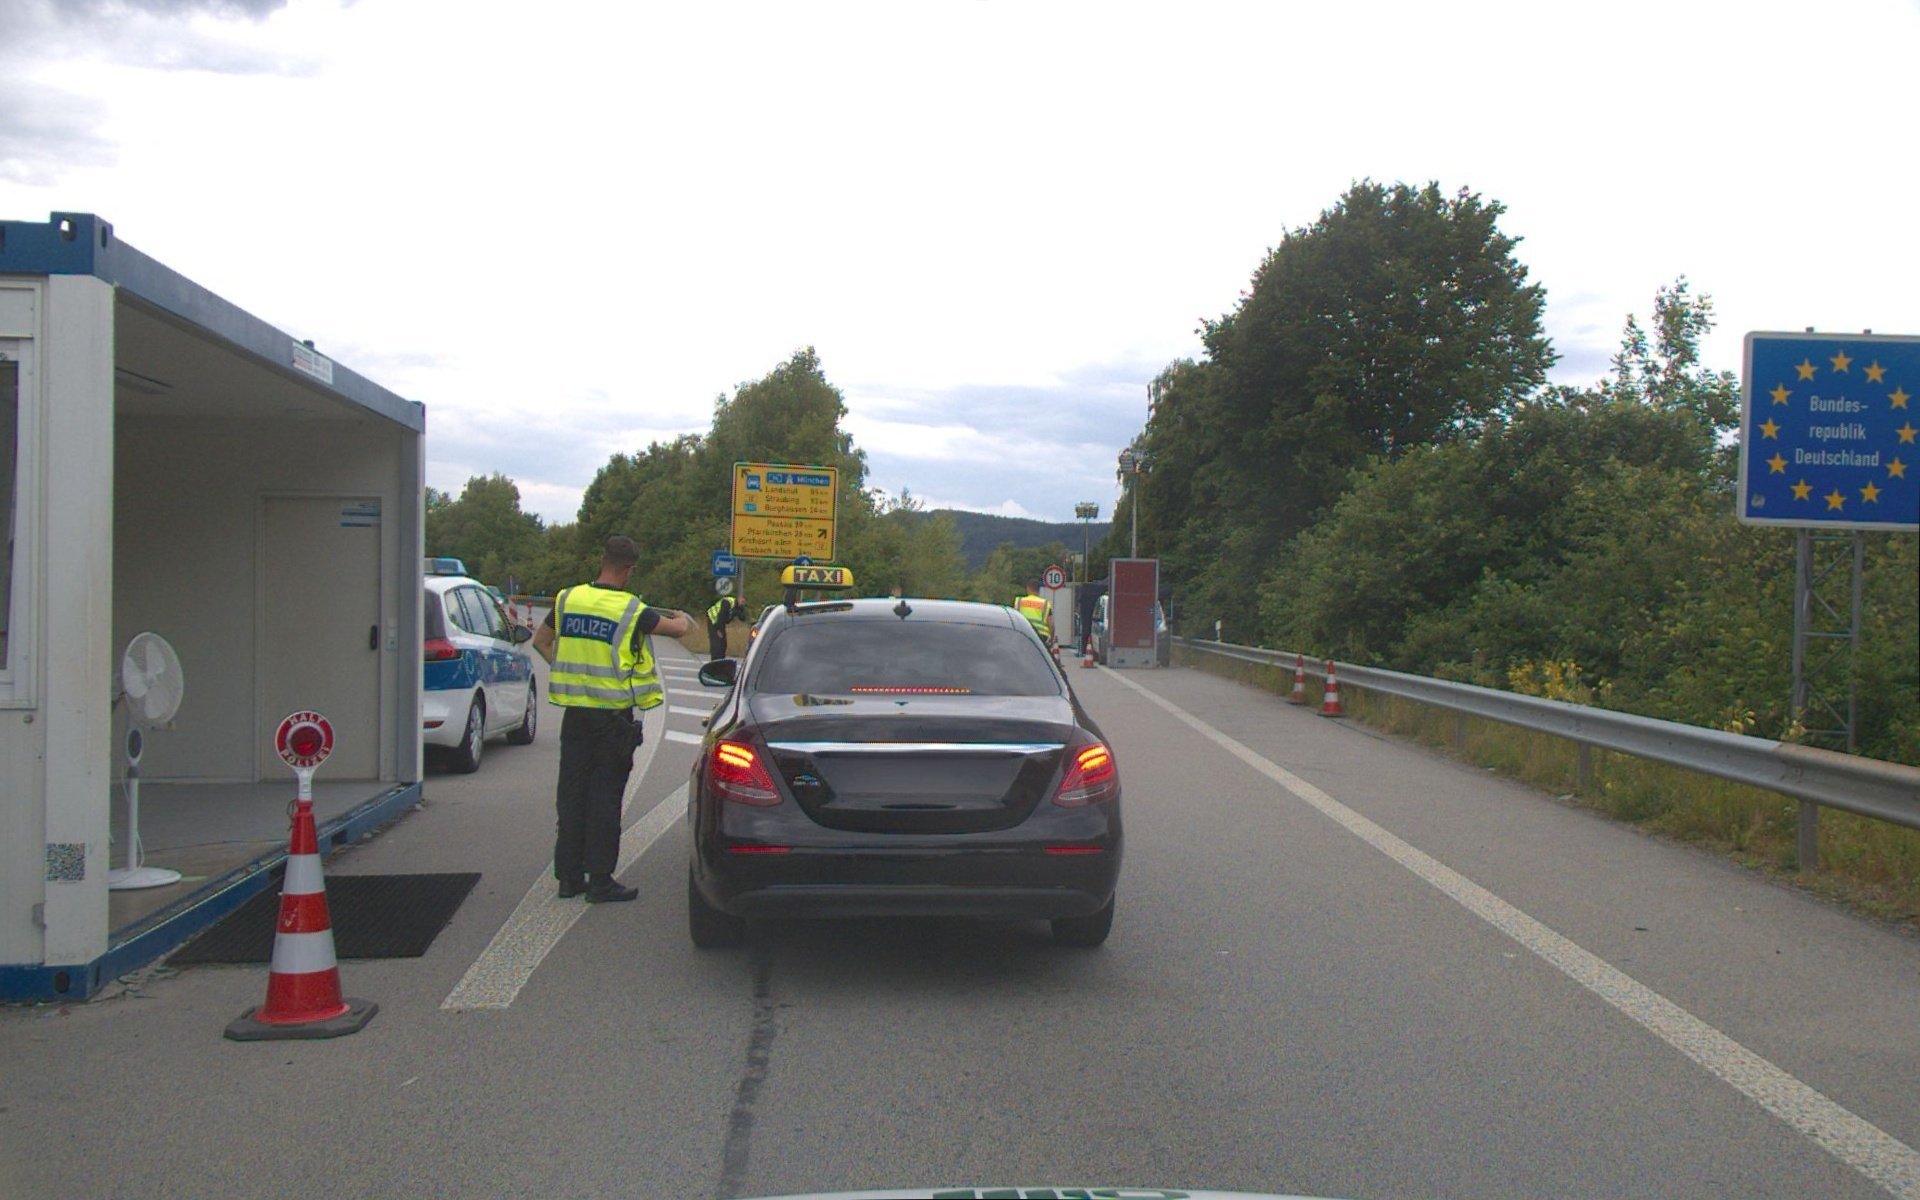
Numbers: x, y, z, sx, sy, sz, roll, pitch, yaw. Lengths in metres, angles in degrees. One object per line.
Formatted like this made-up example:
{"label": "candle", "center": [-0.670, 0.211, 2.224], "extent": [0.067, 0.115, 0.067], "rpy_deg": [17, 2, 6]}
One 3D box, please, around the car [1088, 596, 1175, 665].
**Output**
{"label": "car", "center": [4.686, 0.793, 45.838], "extent": [1.877, 1.707, 5.083], "rpy_deg": [2, 0, 1]}

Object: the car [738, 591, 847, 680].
{"label": "car", "center": [-3.036, 0.603, 30.709], "extent": [1.818, 1.524, 4.253], "rpy_deg": [1, 0, -4]}

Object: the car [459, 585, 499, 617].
{"label": "car", "center": [-23.628, 0.023, 81.119], "extent": [1.826, 1.524, 4.237], "rpy_deg": [1, 0, -17]}

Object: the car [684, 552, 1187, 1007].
{"label": "car", "center": [-0.276, 0.643, 8.180], "extent": [1.819, 1.623, 4.370], "rpy_deg": [1, 0, -5]}

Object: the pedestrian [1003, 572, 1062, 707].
{"label": "pedestrian", "center": [1.032, 0.543, 23.331], "extent": [0.795, 1.862, 0.810], "rpy_deg": [0, 0, 5]}

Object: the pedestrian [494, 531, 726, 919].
{"label": "pedestrian", "center": [-1.687, 0.562, 8.011], "extent": [0.747, 1.748, 0.815], "rpy_deg": [0, 0, 36]}

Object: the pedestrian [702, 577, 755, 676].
{"label": "pedestrian", "center": [-4.289, 0.483, 30.689], "extent": [0.893, 1.800, 0.911], "rpy_deg": [1, 0, -4]}

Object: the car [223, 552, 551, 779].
{"label": "car", "center": [-4.982, 0.513, 14.971], "extent": [1.832, 1.774, 4.004], "rpy_deg": [1, 0, -5]}

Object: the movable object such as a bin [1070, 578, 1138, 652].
{"label": "movable object such as a bin", "center": [4.715, 0.479, 54.683], "extent": [1.952, 2.320, 4.168], "rpy_deg": [1, 0, 1]}

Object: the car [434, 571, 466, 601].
{"label": "car", "center": [-38.895, -1.079, 126.044], "extent": [1.831, 2.261, 4.224], "rpy_deg": [1, 0, -24]}

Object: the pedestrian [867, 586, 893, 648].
{"label": "pedestrian", "center": [-2.615, 0.558, 54.073], "extent": [0.650, 1.995, 0.760], "rpy_deg": [0, 0, 15]}

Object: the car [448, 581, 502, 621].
{"label": "car", "center": [-19.225, 0.018, 65.694], "extent": [1.824, 1.524, 4.242], "rpy_deg": [1, 0, -14]}

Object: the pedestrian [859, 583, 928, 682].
{"label": "pedestrian", "center": [-1.196, 0.573, 29.582], "extent": [0.900, 1.727, 0.903], "rpy_deg": [1, -1, -32]}
